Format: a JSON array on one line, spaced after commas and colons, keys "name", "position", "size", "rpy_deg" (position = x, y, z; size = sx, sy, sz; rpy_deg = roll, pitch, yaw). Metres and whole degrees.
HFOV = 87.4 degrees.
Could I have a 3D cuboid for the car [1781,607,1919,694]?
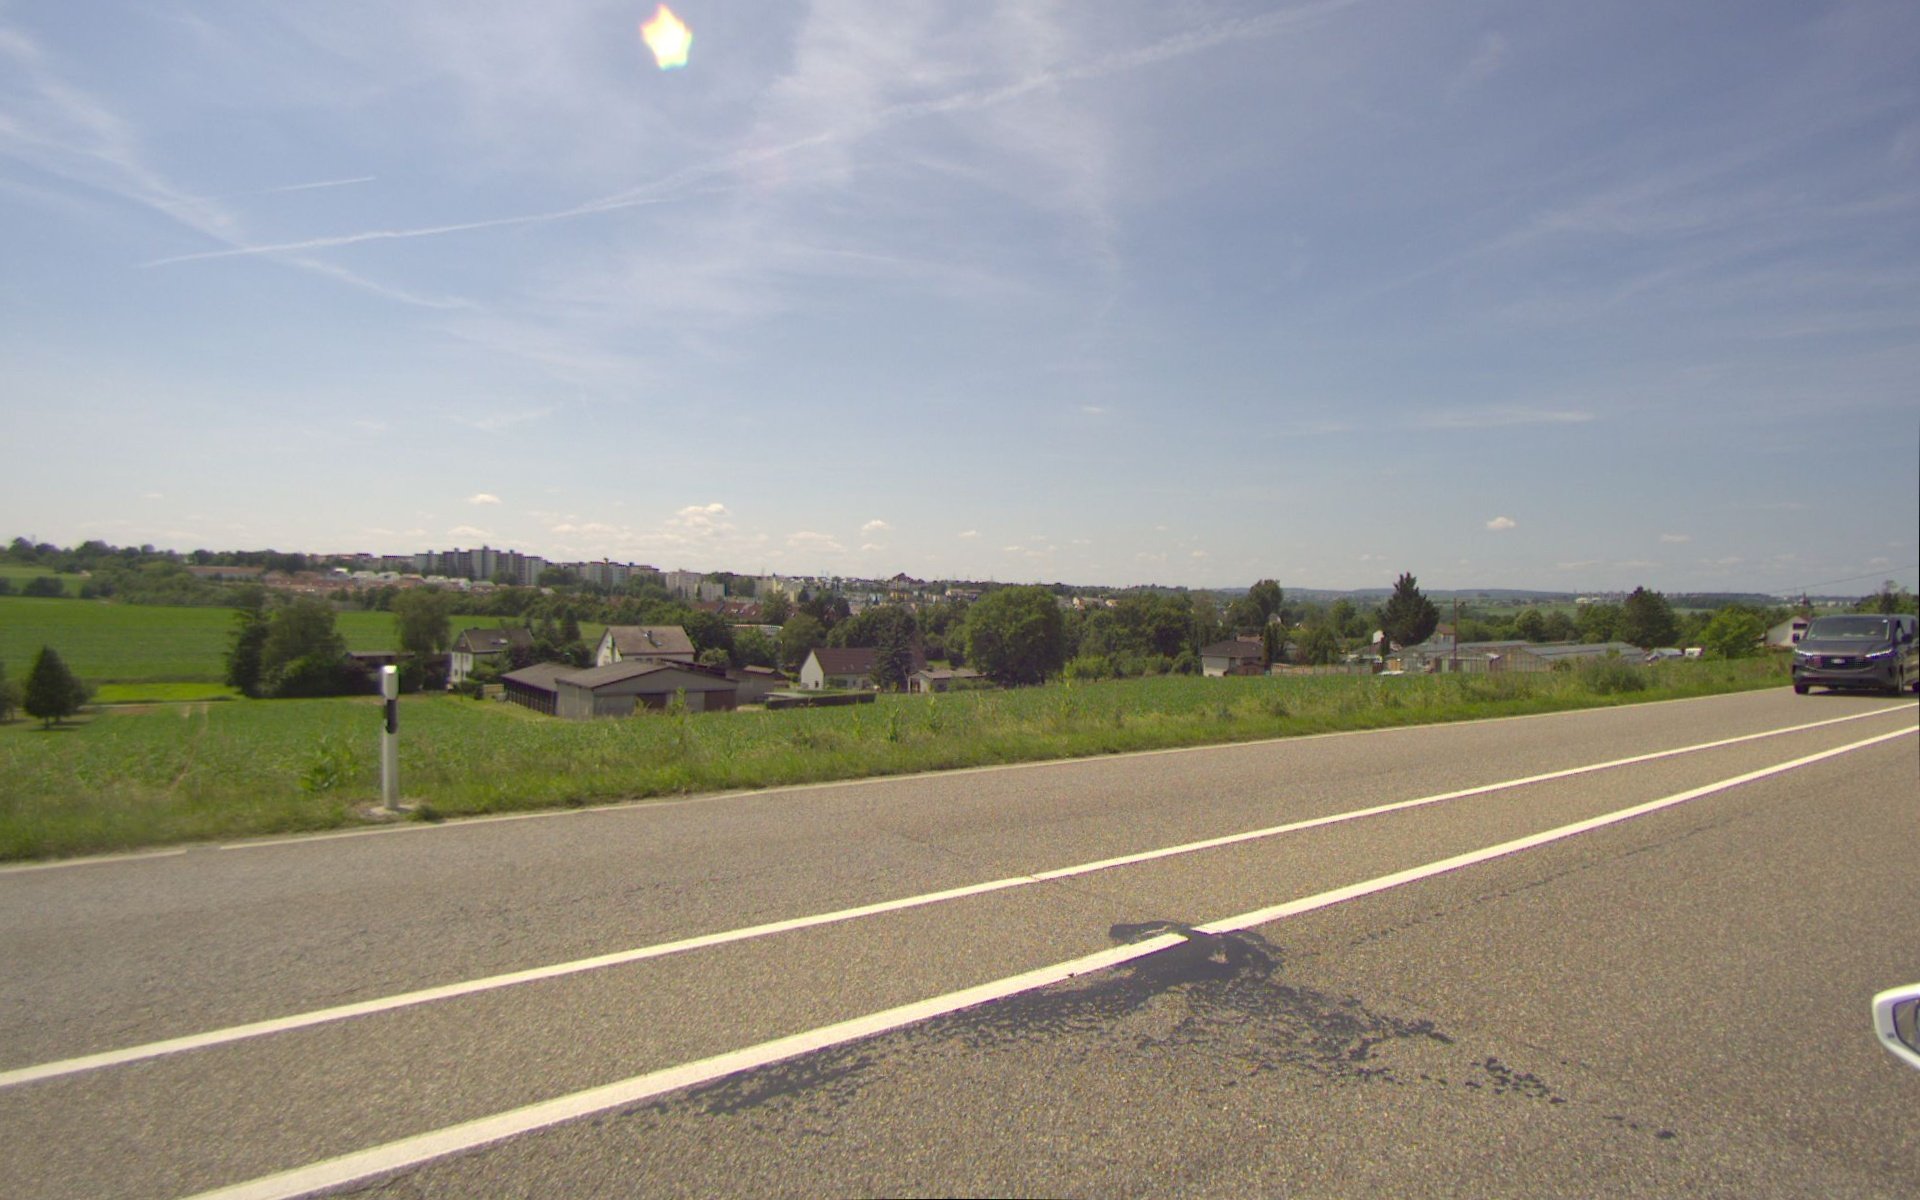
[{"name": "car", "position": [22.773, 1.251, 25.464], "size": [5.233, 2.004, 1.978], "rpy_deg": [2, -3, -39]}]
